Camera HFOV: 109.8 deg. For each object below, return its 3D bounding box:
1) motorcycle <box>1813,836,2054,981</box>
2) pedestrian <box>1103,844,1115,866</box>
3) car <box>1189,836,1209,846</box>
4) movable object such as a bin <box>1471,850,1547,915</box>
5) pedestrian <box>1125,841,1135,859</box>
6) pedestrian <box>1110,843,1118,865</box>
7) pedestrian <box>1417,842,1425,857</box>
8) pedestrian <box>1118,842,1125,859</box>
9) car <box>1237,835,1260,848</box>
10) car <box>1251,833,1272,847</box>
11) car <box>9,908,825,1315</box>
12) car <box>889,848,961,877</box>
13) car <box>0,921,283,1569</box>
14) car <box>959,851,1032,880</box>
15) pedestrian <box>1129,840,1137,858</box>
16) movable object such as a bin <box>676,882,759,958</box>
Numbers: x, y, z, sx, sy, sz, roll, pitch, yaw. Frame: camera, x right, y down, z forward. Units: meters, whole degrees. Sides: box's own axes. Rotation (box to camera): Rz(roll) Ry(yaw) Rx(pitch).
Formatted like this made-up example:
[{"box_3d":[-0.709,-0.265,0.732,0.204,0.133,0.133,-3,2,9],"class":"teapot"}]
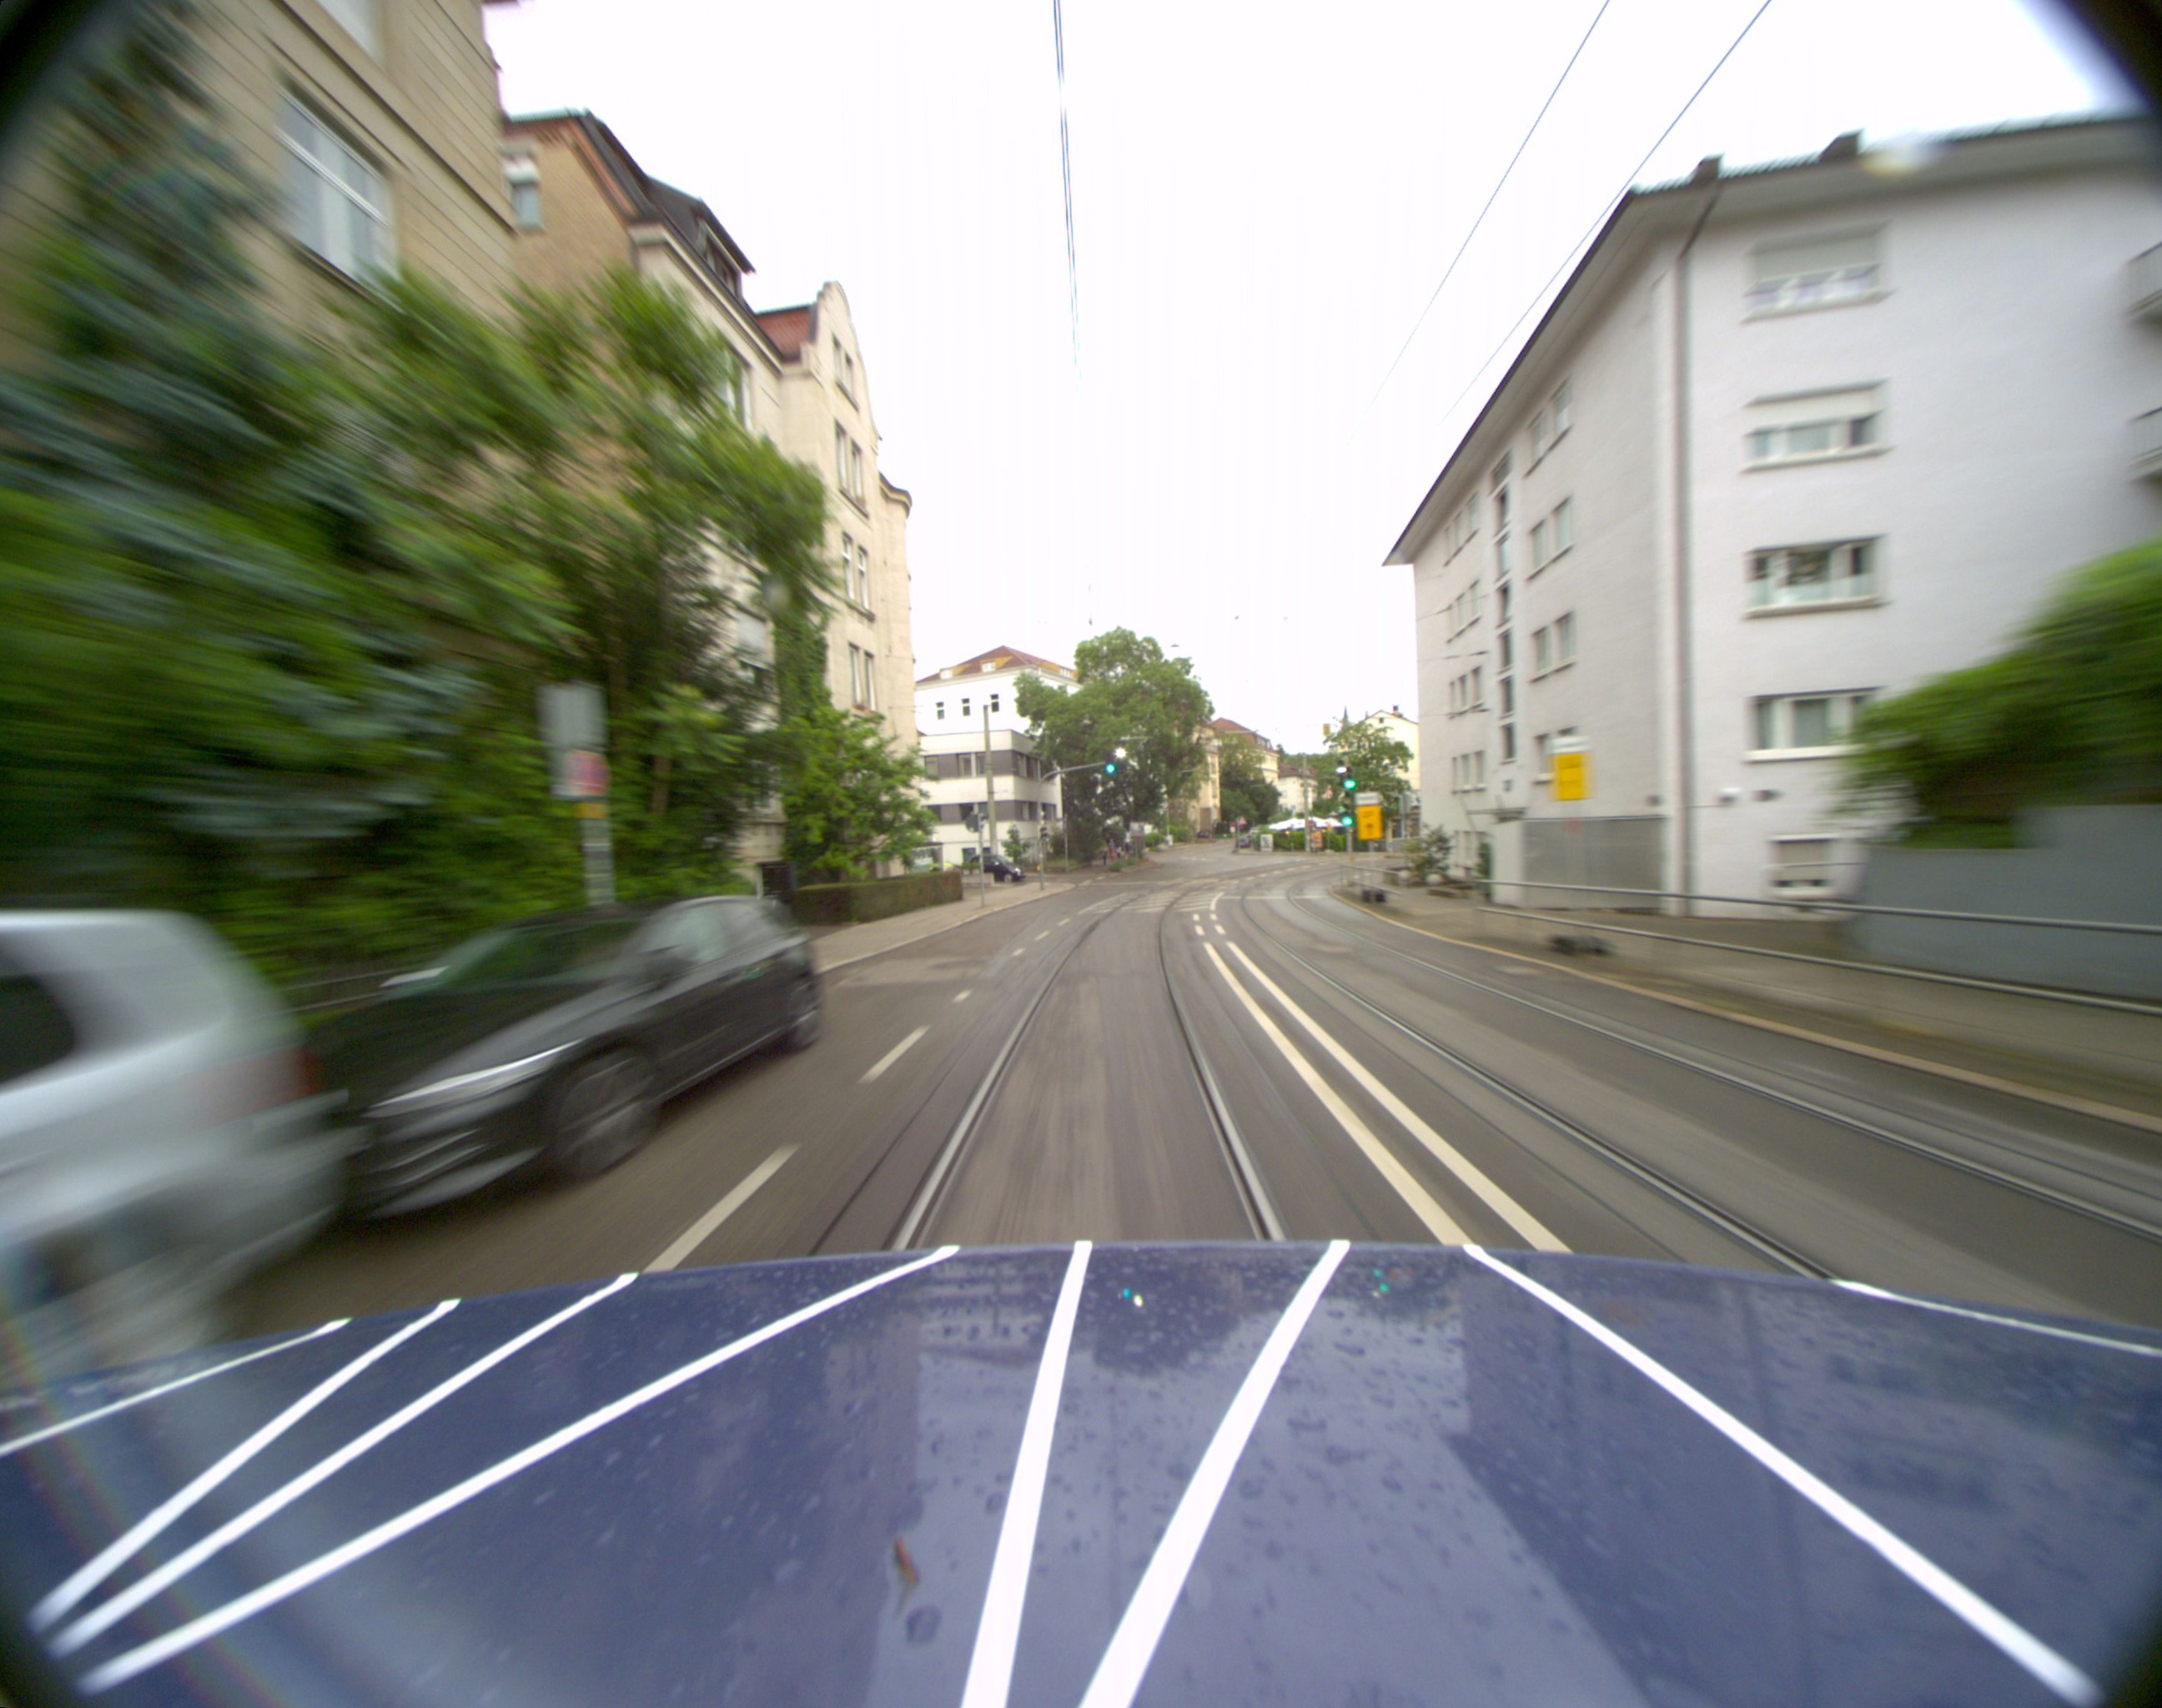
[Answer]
[{"box_3d":[9.730,0.620,8.732,1.926,1.591,0.596,-1,-1,5],"class":"motorcycle"},{"box_3d":[2.223,0.109,60.440,0.744,1.690,0.674,2,0,16],"class":"pedestrian"},{"box_3d":[16.151,-1.756,103.822,1.596,1.333,3.642,-1,-1,29],"class":"car"},{"box_3d":[9.962,0.659,17.748,1.187,1.453,1.291,0,-1,10],"class":"movable object such as a bin"},{"box_3d":[4.288,-0.351,66.222,0.600,1.556,0.547,-1,-1,45],"class":"pedestrian"},{"box_3d":[2.931,-0.009,67.381,0.542,1.913,0.917,-1,3,9],"class":"pedestrian"},{"box_3d":[35.746,-0.510,79.930,0.560,1.545,0.545,0,2,-38],"class":"pedestrian"},{"box_3d":[3.513,-0.286,65.927,0.386,1.498,0.537,-3,3,-43],"class":"pedestrian"},{"box_3d":[18.923,-1.390,85.936,1.689,1.434,3.810,0,2,26],"class":"car"},{"box_3d":[21.895,-1.714,92.164,1.689,1.680,3.810,0,2,26],"class":"car"},{"box_3d":[-3.402,1.198,5.089,1.770,1.382,4.002,-4,-1,3],"class":"car"},{"box_3d":[-8.874,0.462,43.329,3.664,1.499,1.739,1,2,13],"class":"car"},{"box_3d":[-3.645,1.061,0.466,1.770,1.594,4.287,-2,0,-1],"class":"car"},{"box_3d":[-4.736,0.612,42.336,3.664,1.499,1.739,1,2,13],"class":"car"},{"box_3d":[4.638,-0.424,68.341,0.544,1.619,0.603,-1,-1,21],"class":"pedestrian"},{"box_3d":[-7.028,1.256,14.749,1.228,1.394,0.823,-1,-1,-4],"class":"movable object such as a bin"}]
